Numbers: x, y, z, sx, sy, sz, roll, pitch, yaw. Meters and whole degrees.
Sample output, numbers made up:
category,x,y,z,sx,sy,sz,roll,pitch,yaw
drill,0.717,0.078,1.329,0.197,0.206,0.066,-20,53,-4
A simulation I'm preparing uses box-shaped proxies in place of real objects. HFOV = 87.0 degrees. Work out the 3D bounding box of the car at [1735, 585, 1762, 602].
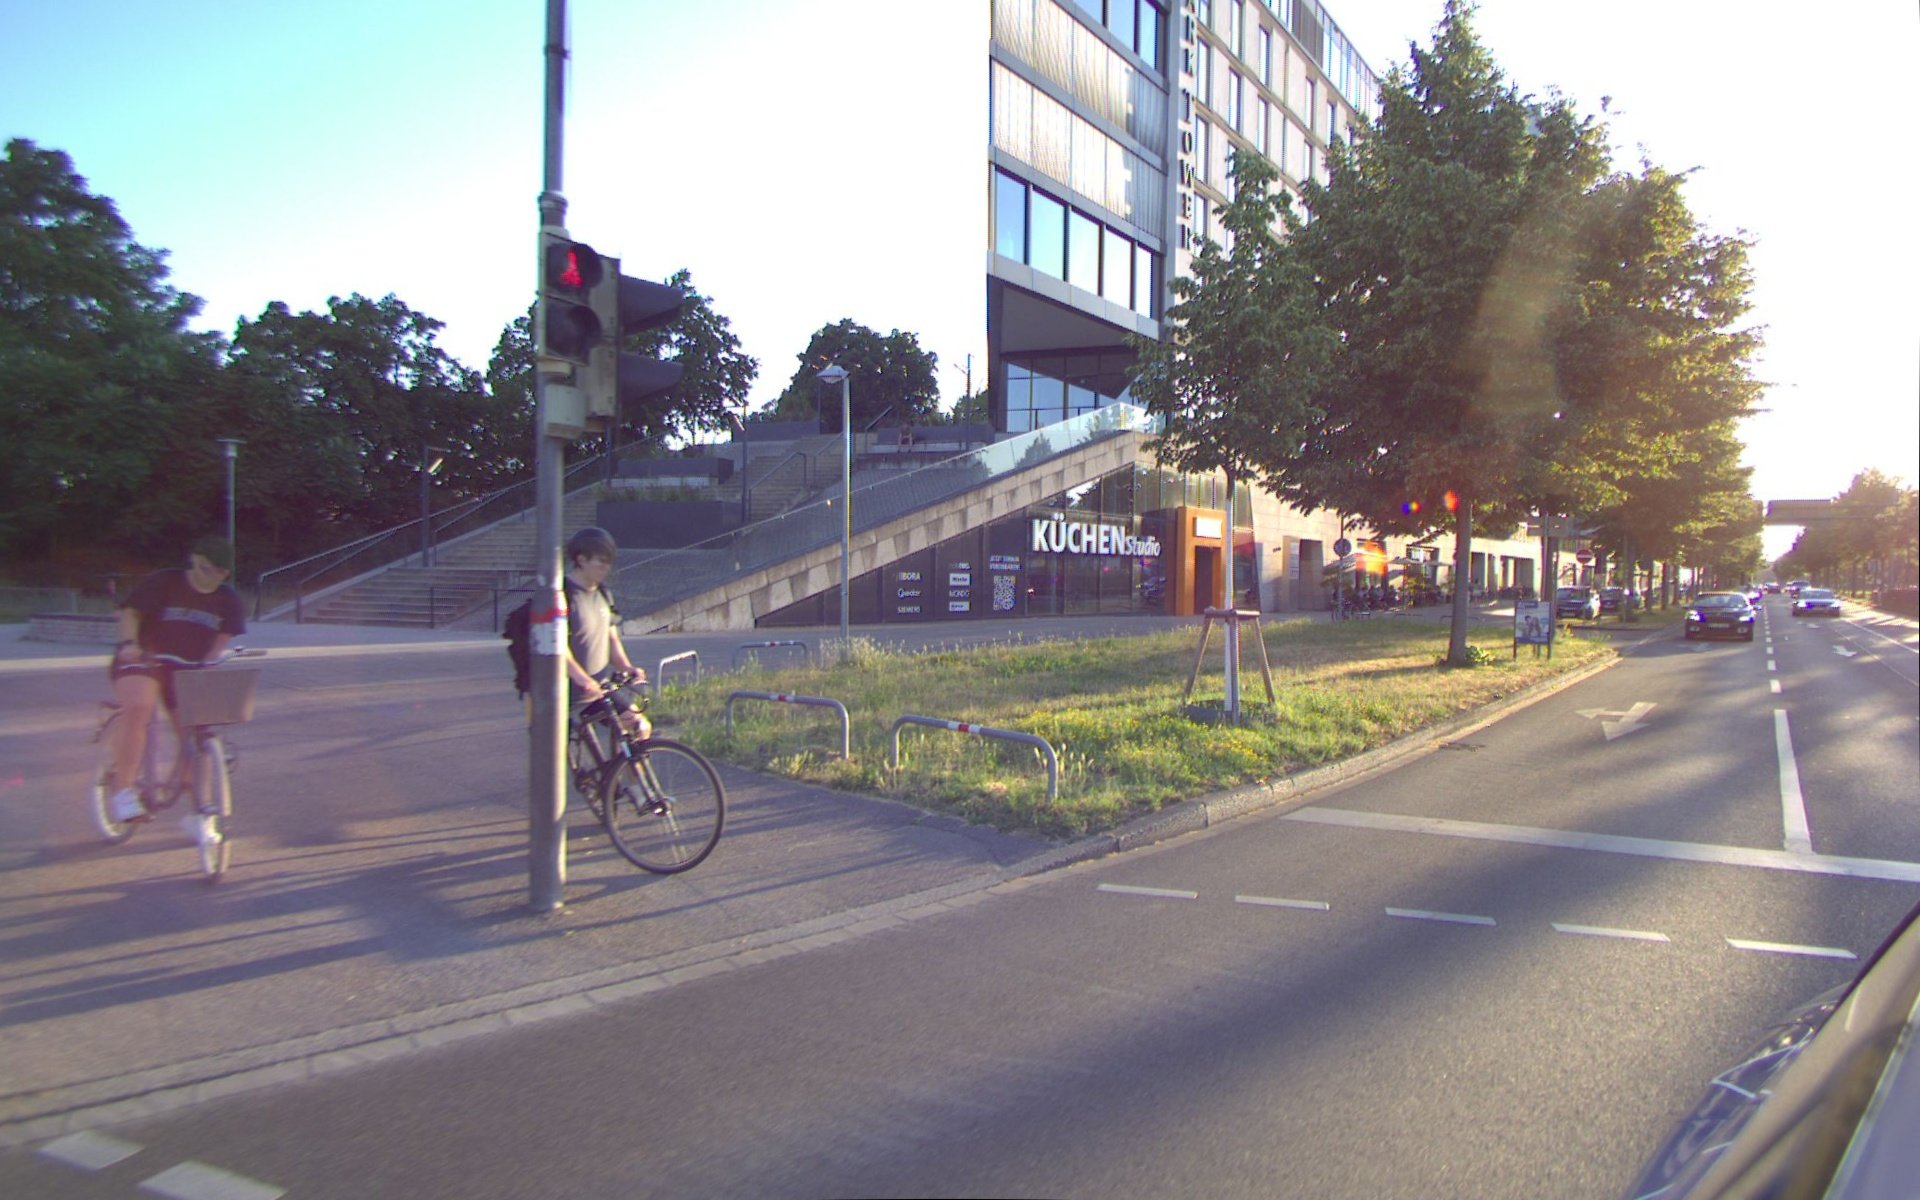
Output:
category,x,y,z,sx,sy,sz,roll,pitch,yaw
car,72.607,-0.595,93.126,1.884,1.499,3.994,2,2,39

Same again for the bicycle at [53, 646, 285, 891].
category,x,y,z,sx,sy,sz,roll,pitch,yaw
bicycle,-4.184,0.809,5.302,1.848,1.035,0.305,2,1,31

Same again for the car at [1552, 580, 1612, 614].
category,x,y,z,sx,sy,sz,roll,pitch,yaw
car,28.278,-0.158,45.961,1.794,1.482,3.943,2,1,39

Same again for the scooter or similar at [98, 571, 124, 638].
category,x,y,z,sx,sy,sz,roll,pitch,yaw
scooter or similar,-16.186,0.062,19.309,0.360,1.235,1.575,0,1,-40

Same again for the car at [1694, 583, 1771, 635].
category,x,y,z,sx,sy,sz,roll,pitch,yaw
car,24.265,0.240,31.759,1.794,1.482,3.943,2,1,39

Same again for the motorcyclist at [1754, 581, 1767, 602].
category,x,y,z,sx,sy,sz,roll,pitch,yaw
motorcyclist,54.157,-0.593,68.478,0.633,1.426,0.586,2,2,40

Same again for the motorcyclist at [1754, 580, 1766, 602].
category,x,y,z,sx,sy,sz,roll,pitch,yaw
motorcyclist,53.745,-0.607,67.980,0.633,1.434,0.704,2,2,40

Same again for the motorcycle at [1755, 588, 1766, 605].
category,x,y,z,sx,sy,sz,roll,pitch,yaw
motorcycle,54.001,-0.229,68.276,0.555,1.114,2.129,1,1,39

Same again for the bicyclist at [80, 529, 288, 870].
category,x,y,z,sx,sy,sz,roll,pitch,yaw
bicyclist,-4.135,0.476,5.410,0.679,1.668,0.676,1,1,30

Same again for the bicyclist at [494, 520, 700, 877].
category,x,y,z,sx,sy,sz,roll,pitch,yaw
bicyclist,-2.022,0.478,5.622,0.791,1.777,0.847,0,1,-44

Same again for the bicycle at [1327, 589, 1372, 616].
category,x,y,z,sx,sy,sz,roll,pitch,yaw
bicycle,12.982,0.059,33.698,0.548,0.862,2.605,2,1,41

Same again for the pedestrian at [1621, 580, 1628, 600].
category,x,y,z,sx,sy,sz,roll,pitch,yaw
pedestrian,67.892,-1.055,103.362,0.536,2.039,0.520,1,1,39

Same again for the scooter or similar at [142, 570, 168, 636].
category,x,y,z,sx,sy,sz,roll,pitch,yaw
scooter or similar,-15.687,0.038,19.706,0.360,1.235,1.575,0,1,-40

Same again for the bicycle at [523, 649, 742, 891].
category,x,y,z,sx,sy,sz,roll,pitch,yaw
bicycle,-1.907,0.862,5.715,0.430,1.035,1.860,0,1,-43

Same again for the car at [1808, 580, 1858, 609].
category,x,y,z,sx,sy,sz,roll,pitch,yaw
car,44.896,-0.303,52.105,1.794,1.440,4.386,2,1,39

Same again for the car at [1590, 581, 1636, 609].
category,x,y,z,sx,sy,sz,roll,pitch,yaw
car,37.164,-0.312,57.560,1.794,1.482,3.943,2,1,39

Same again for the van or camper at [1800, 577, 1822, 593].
category,x,y,z,sx,sy,sz,roll,pitch,yaw
van or camper,110.015,-1.966,130.851,1.990,1.982,5.255,2,2,38
